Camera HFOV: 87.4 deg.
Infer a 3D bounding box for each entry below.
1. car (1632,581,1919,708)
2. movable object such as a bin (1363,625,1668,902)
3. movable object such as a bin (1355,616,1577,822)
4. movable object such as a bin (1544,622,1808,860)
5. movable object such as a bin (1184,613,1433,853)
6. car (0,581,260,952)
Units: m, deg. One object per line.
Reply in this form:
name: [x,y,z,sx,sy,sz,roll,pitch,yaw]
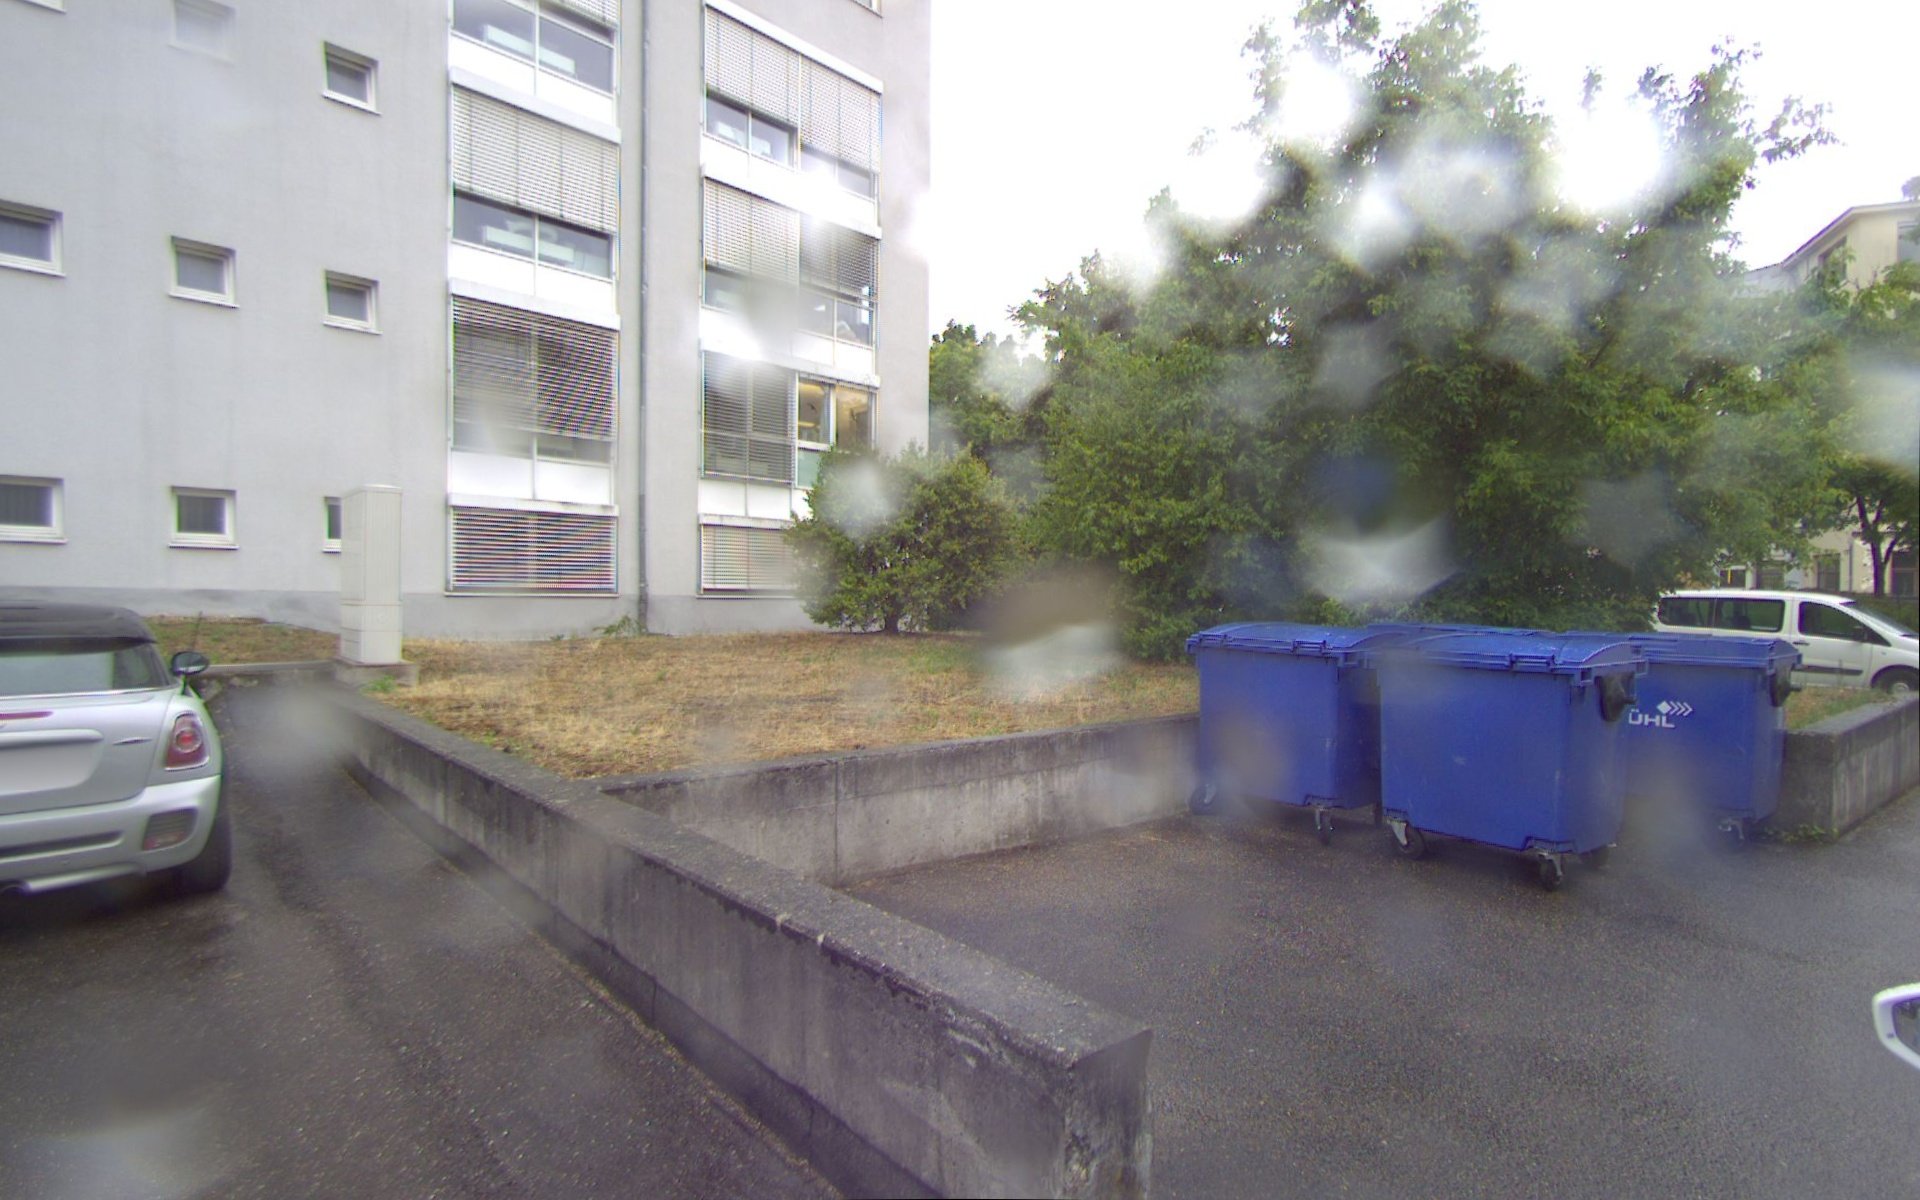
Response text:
car: [15.164,0.725,18.104,1.983,2.040,4.742,0,0,-39]
movable object such as a bin: [3.207,0.837,5.844,1.106,1.355,1.194,1,0,-36]
movable object such as a bin: [3.821,0.824,7.627,0.998,1.355,1.211,-1,1,-39]
movable object such as a bin: [4.744,0.847,6.687,0.998,1.355,1.211,0,1,-39]
movable object such as a bin: [2.358,0.810,6.844,1.107,1.355,1.193,-2,4,-39]
car: [-5.312,0.647,5.530,1.809,1.351,4.124,-1,3,-43]
